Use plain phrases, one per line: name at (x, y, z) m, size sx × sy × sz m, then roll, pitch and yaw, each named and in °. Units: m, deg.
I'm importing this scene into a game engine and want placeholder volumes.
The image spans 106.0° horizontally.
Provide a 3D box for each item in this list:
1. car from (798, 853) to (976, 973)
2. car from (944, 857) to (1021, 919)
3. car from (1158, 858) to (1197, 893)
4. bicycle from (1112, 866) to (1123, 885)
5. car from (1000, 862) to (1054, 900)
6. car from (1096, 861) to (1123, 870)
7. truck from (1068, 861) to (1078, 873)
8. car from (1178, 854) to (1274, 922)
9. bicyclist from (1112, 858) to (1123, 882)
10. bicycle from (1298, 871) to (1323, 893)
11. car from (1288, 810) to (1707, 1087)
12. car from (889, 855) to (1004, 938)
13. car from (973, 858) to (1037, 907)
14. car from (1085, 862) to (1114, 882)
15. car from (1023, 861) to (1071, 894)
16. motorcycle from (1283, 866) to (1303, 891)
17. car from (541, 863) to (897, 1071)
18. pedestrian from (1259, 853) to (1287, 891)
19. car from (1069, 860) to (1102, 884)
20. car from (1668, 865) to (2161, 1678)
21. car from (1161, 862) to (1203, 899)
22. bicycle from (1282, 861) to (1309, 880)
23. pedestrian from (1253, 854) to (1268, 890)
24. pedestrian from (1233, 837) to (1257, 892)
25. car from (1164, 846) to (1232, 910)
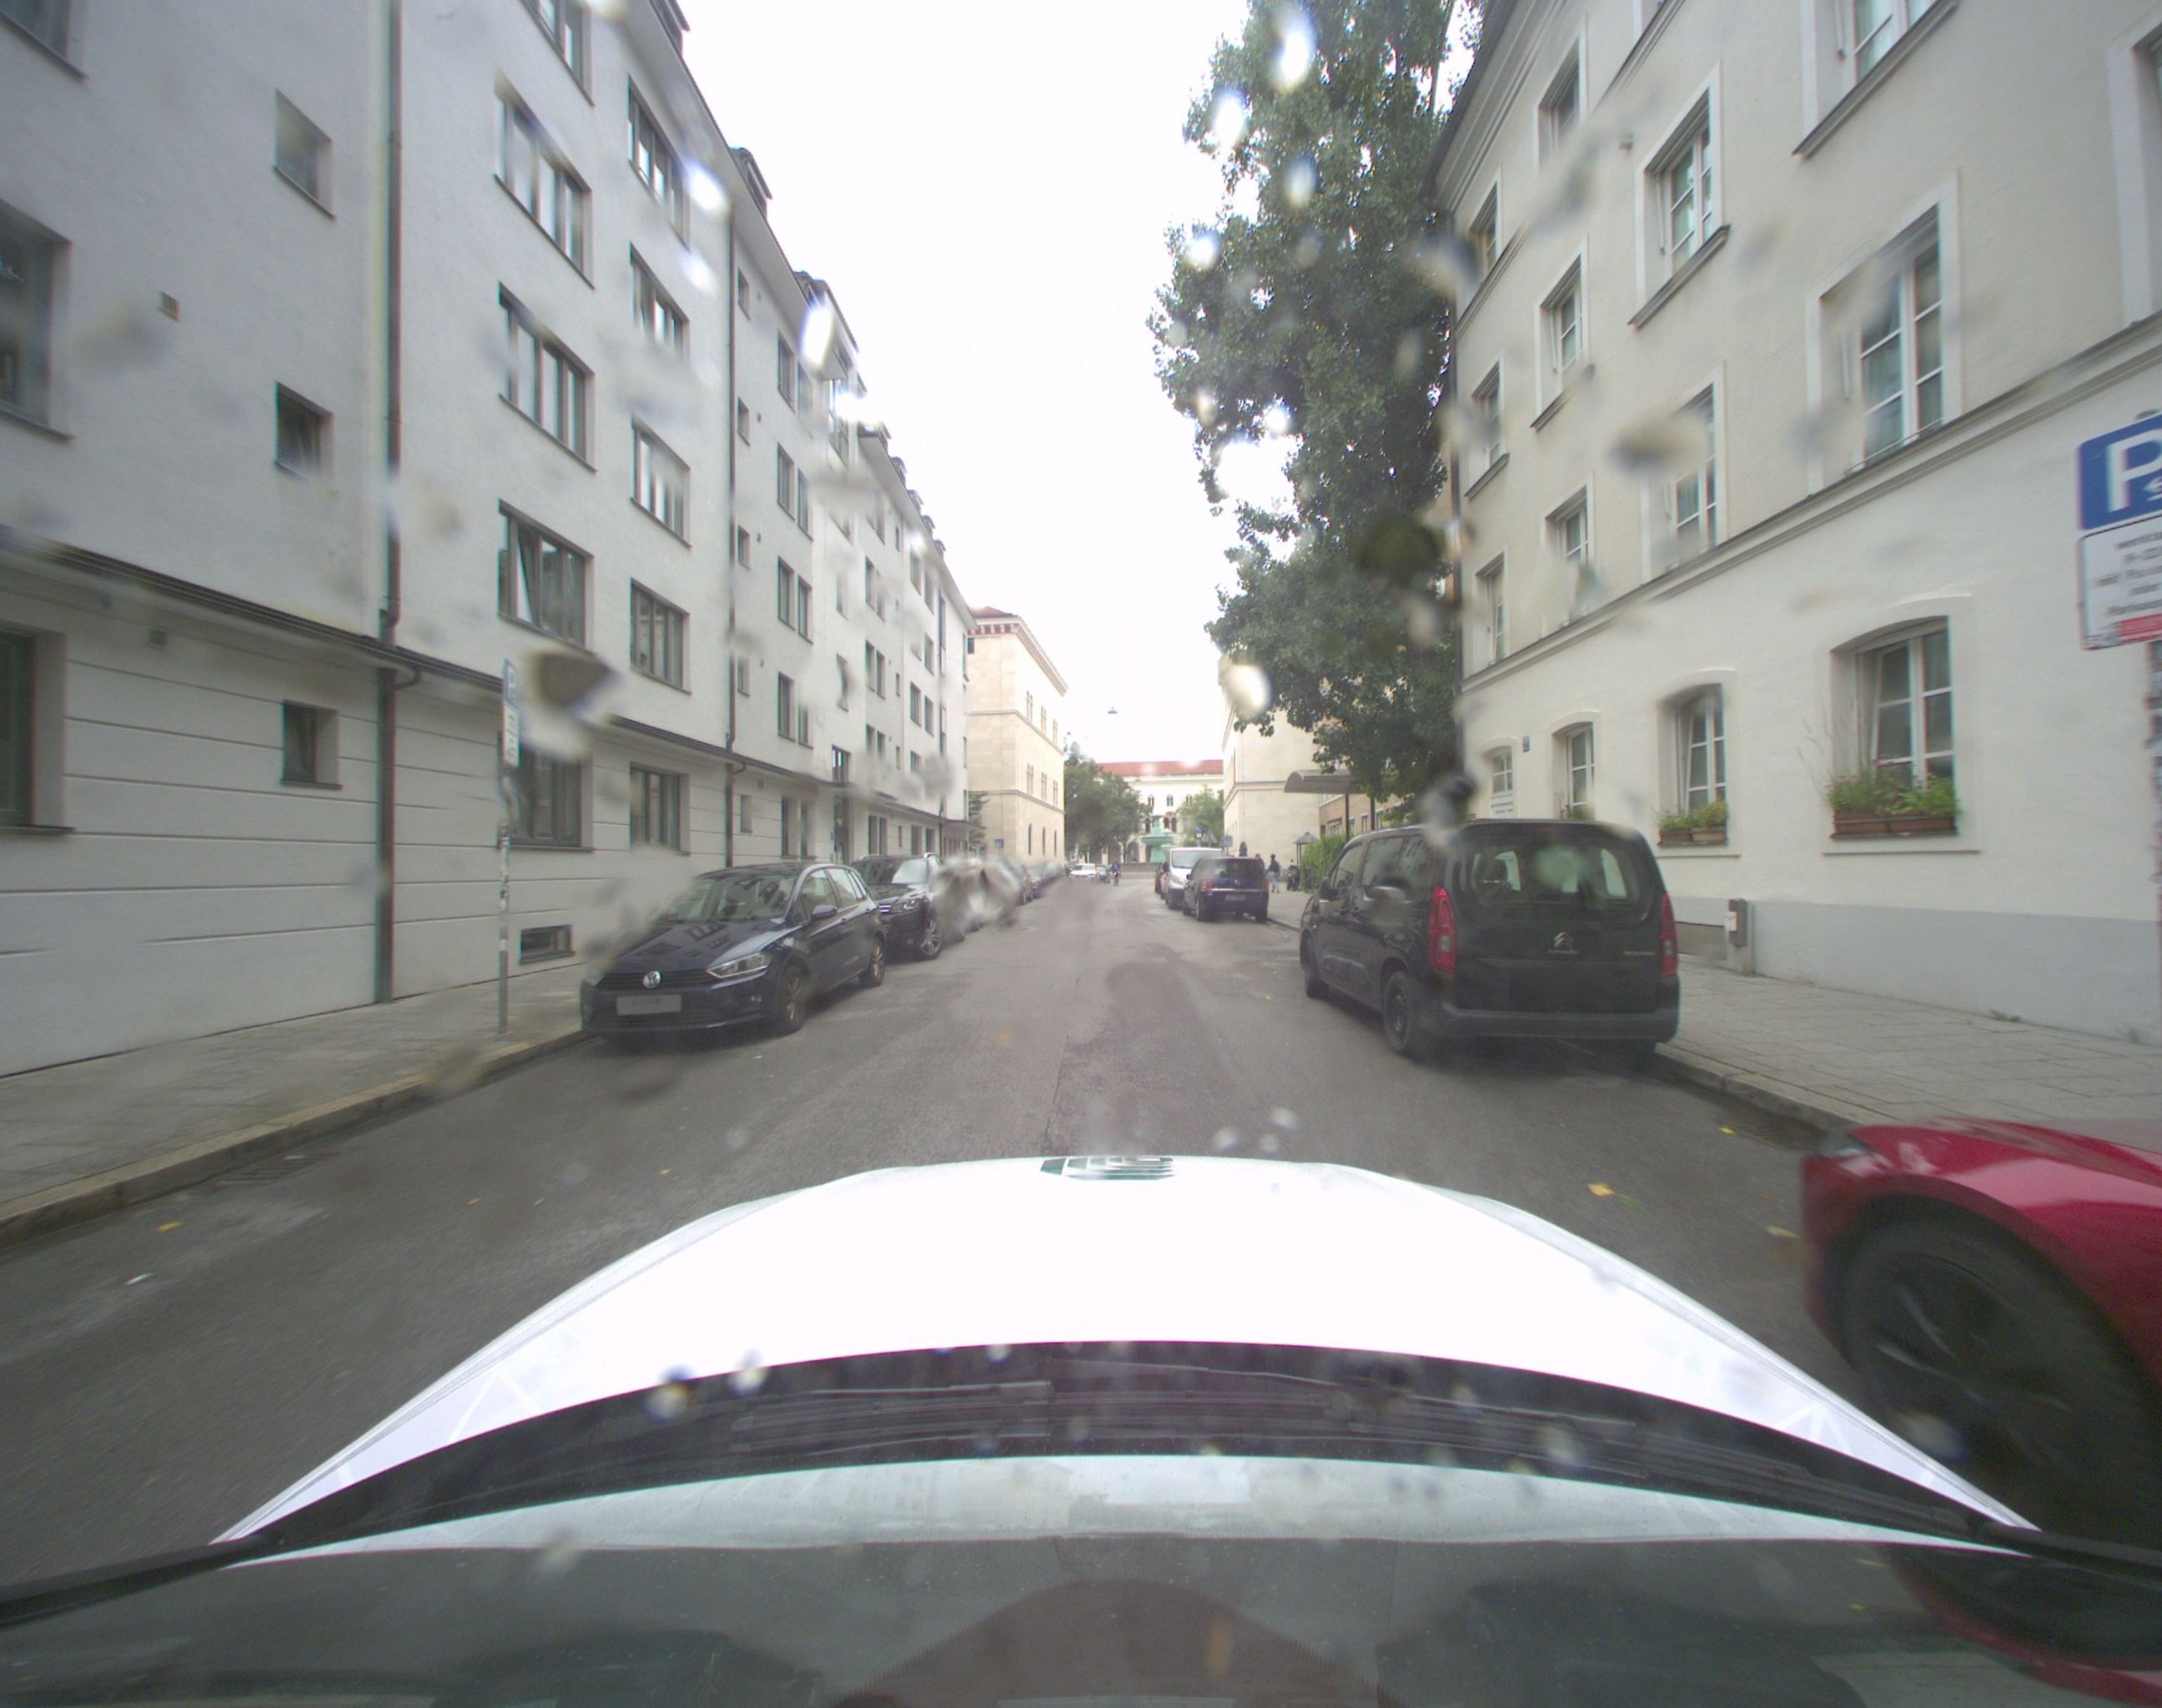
car at (-3.171, 0.870, 14.314) m, size 1.865 × 1.688 × 4.521 m, roll -3°, pitch 0°, yaw 1°
car at (-2.993, 0.990, 25.717) m, size 1.867 × 1.658 × 4.589 m, roll -3°, pitch 0°, yaw -1°
car at (4.618, 1.006, 39.289) m, size 1.739 × 1.594 × 3.961 m, roll -1°, pitch -1°, yaw 5°
bicycle at (2.431, 1.413, 54.037) m, size 0.645 × 1.197 × 1.952 m, roll -2°, pitch -1°, yaw 4°
car at (-2.375, 1.165, 36.764) m, size 1.742 × 1.453 × 4.021 m, roll -3°, pitch 0°, yaw 5°
car at (4.378, 1.779, 125.563) m, size 3.967 × 1.376 × 2.003 m, roll -1°, pitch 0°, yaw 5°
truck at (-1.889, 2.869, 181.354) m, size 1.989 × 2.489 × 3.995 m, roll 0°, pitch 0°, yaw -4°
car at (3.685, 0.824, 21.390) m, size 1.802 × 1.600 × 4.215 m, roll 0°, pitch 0°, yaw 0°
bicyclist at (2.440, 1.062, 54.126) m, size 0.654 × 1.551 × 0.888 m, roll -2°, pitch -1°, yaw 5°
bicycle at (9.039, 1.091, 32.088) m, size 0.515 × 0.817 × 1.433 m, roll -2°, pitch 0°, yaw -1°
car at (3.266, 0.636, 7.441) m, size 1.839 × 1.776 × 4.203 m, roll 1°, pitch -1°, yaw 3°
car at (-3.107, 0.920, 19.812) m, size 1.865 × 1.658 × 4.592 m, roll -3°, pitch 0°, yaw 1°
car at (-2.832, 1.035, 31.343) m, size 1.865 × 1.658 × 4.082 m, roll -3°, pitch 0°, yaw 2°
car at (1.451, 1.399, 62.862) m, size 1.689 × 1.393 × 4.220 m, roll -3°, pitch -1°, yaw 7°
car at (-1.674, 1.151, 41.501) m, size 1.741 × 1.453 × 4.024 m, roll -3°, pitch 0°, yaw 7°
motorcycle at (9.455, 1.071, 36.419) m, size 0.486 × 1.054 × 1.925 m, roll -1°, pitch 0°, yaw 3°
car at (-3.397, 0.938, 8.659) m, size 1.767 × 1.539 × 4.160 m, roll -3°, pitch 0°, yaw 1°
pedestrian at (8.025, 0.755, 33.987) m, size 0.948 × 1.547 × 0.672 m, roll -1°, pitch -1°, yaw -6°
car at (0.332, 1.271, 56.714) m, size 1.769 × 1.535 × 4.219 m, roll -3°, pitch -1°, yaw 6°
car at (2.770, 0.747, 0.450) m, size 1.707 × 1.424 × 4.458 m, roll -1°, pitch 0°, yaw 1°
car at (4.243, 1.074, 34.552) m, size 1.665 × 1.417 × 4.208 m, roll -1°, pitch 0°, yaw 6°
bicycle at (11.982, 0.921, 45.502) m, size 1.422 × 1.042 × 0.349 m, roll -2°, pitch -1°, yaw 5°
pedestrian at (8.292, 0.827, 37.734) m, size 0.584 × 1.633 × 0.879 m, roll -1°, pitch 0°, yaw 7°
pedestrian at (6.704, 0.432, 33.312) m, size 0.790 × 2.197 × 0.814 m, roll -1°, pitch 0°, yaw 1°
car at (3.790, 0.736, 27.079) m, size 1.874 × 1.924 × 4.880 m, roll -1°, pitch 0°, yaw 4°
